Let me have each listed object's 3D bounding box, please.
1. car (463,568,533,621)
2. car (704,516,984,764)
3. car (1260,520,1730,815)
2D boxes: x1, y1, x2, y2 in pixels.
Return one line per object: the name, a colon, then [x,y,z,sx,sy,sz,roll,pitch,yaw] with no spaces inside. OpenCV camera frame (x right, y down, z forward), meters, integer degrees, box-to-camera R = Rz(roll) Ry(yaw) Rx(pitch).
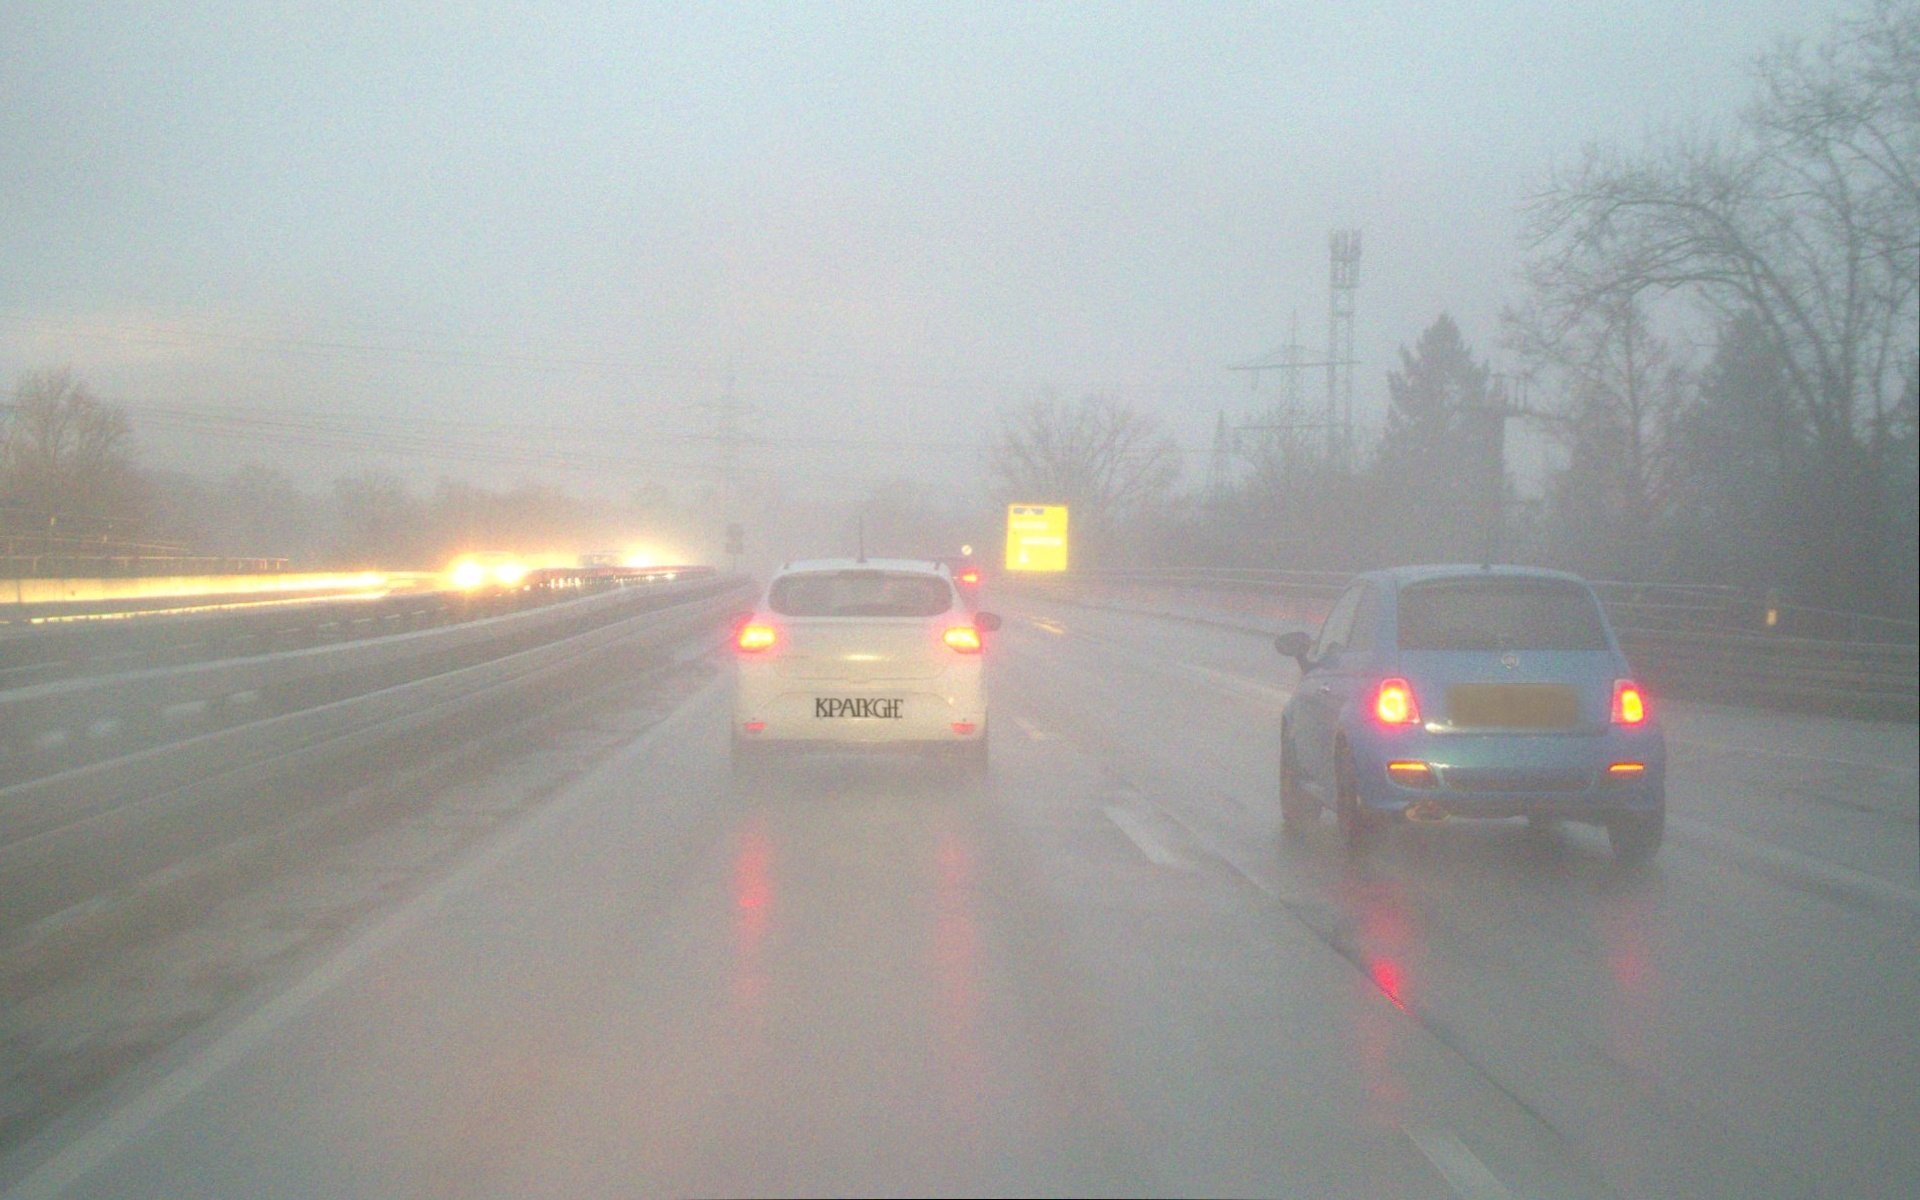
car: [-14.694,-0.199,109.589,1.855,1.560,3.923,1,2,-3]
car: [-0.788,0.220,24.794,1.845,1.630,3.768,1,1,0]
car: [2.875,0.294,19.386,1.845,1.448,4.149,1,2,-2]
